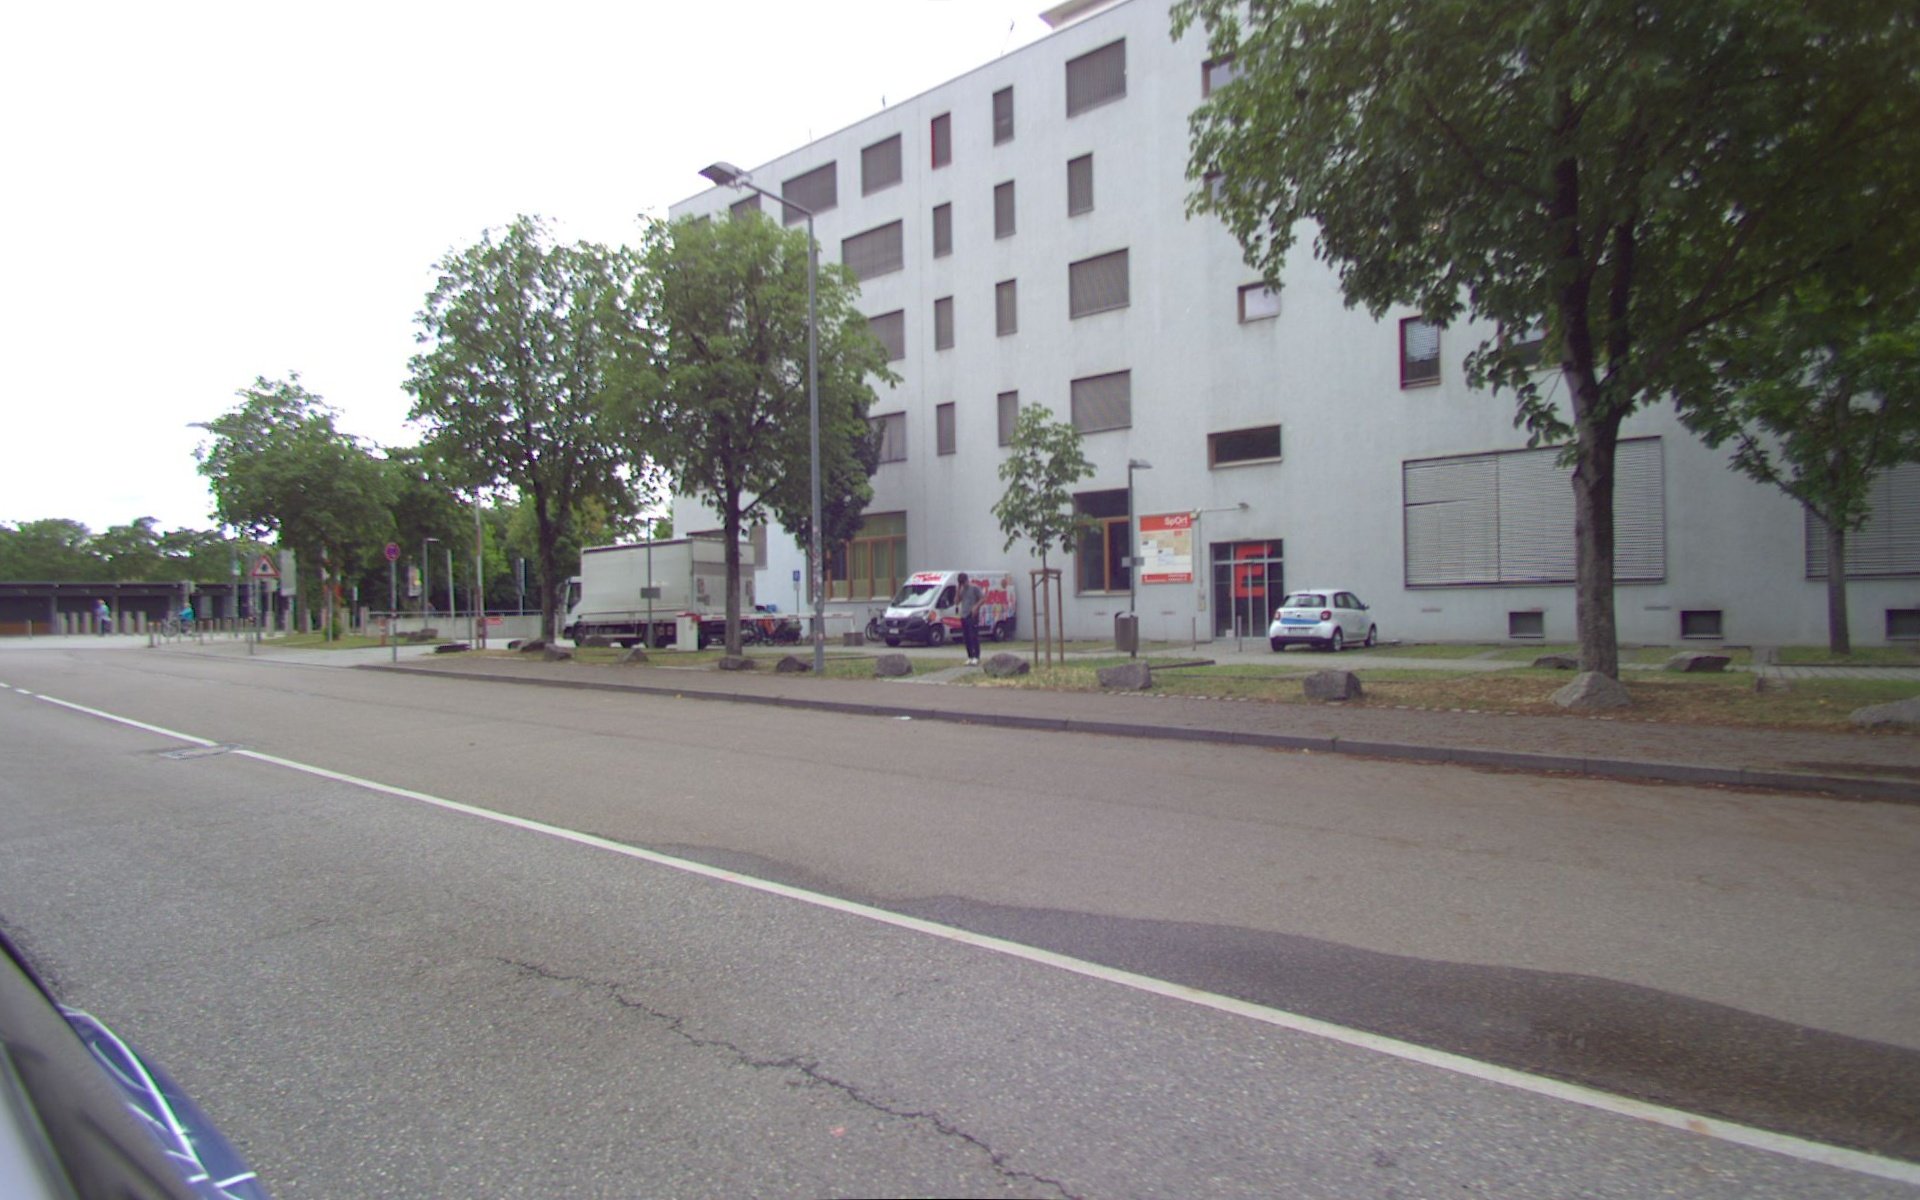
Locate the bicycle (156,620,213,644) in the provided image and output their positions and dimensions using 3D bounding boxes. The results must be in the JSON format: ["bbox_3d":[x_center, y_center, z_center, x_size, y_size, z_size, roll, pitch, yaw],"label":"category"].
[{"bbox_3d":[-40.444,1.660,52.793,0.747,1.131,2.230,0,1,36],"label":"bicycle"}]

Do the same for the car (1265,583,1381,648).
[{"bbox_3d":[9.326,0.353,25.850,1.691,1.511,3.576,0,1,39],"label":"car"}]

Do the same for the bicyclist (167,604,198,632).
[{"bbox_3d":[-40.500,0.936,52.721,0.742,1.441,1.145,0,1,36],"label":"bicyclist"}]

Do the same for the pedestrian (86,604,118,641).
[{"bbox_3d":[-44.133,1.150,52.073,1.182,1.847,0.930,-1,2,-38],"label":"pedestrian"}]

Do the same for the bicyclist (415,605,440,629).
[{"bbox_3d":[-34.592,1.072,65.775,0.924,1.507,1.090,1,2,30],"label":"bicyclist"}]

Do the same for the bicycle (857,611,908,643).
[{"bbox_3d":[-2.828,0.970,37.166,0.614,1.078,2.003,0,1,43],"label":"bicycle"}]

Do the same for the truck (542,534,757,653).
[{"bbox_3d":[-10.742,-0.233,34.497,8.352,3.627,2.652,0,1,38],"label":"truck"}]

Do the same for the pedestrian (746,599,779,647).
[{"bbox_3d":[-6.868,0.799,35.214,0.885,1.618,0.672,0,1,33],"label":"pedestrian"}]

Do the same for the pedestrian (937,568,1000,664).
[{"bbox_3d":[0.160,0.269,18.177,0.785,1.684,0.836,0,1,35],"label":"pedestrian"}]

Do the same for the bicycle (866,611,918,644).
[{"bbox_3d":[-2.444,0.974,36.612,0.614,1.078,2.003,0,1,43],"label":"bicycle"}]

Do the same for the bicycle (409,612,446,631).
[{"bbox_3d":[-34.585,1.371,65.782,0.775,1.152,2.031,1,2,30],"label":"bicycle"}]

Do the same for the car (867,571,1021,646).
[{"bbox_3d":[-0.423,0.214,33.947,2.077,2.296,5.570,0,1,39],"label":"car"}]
